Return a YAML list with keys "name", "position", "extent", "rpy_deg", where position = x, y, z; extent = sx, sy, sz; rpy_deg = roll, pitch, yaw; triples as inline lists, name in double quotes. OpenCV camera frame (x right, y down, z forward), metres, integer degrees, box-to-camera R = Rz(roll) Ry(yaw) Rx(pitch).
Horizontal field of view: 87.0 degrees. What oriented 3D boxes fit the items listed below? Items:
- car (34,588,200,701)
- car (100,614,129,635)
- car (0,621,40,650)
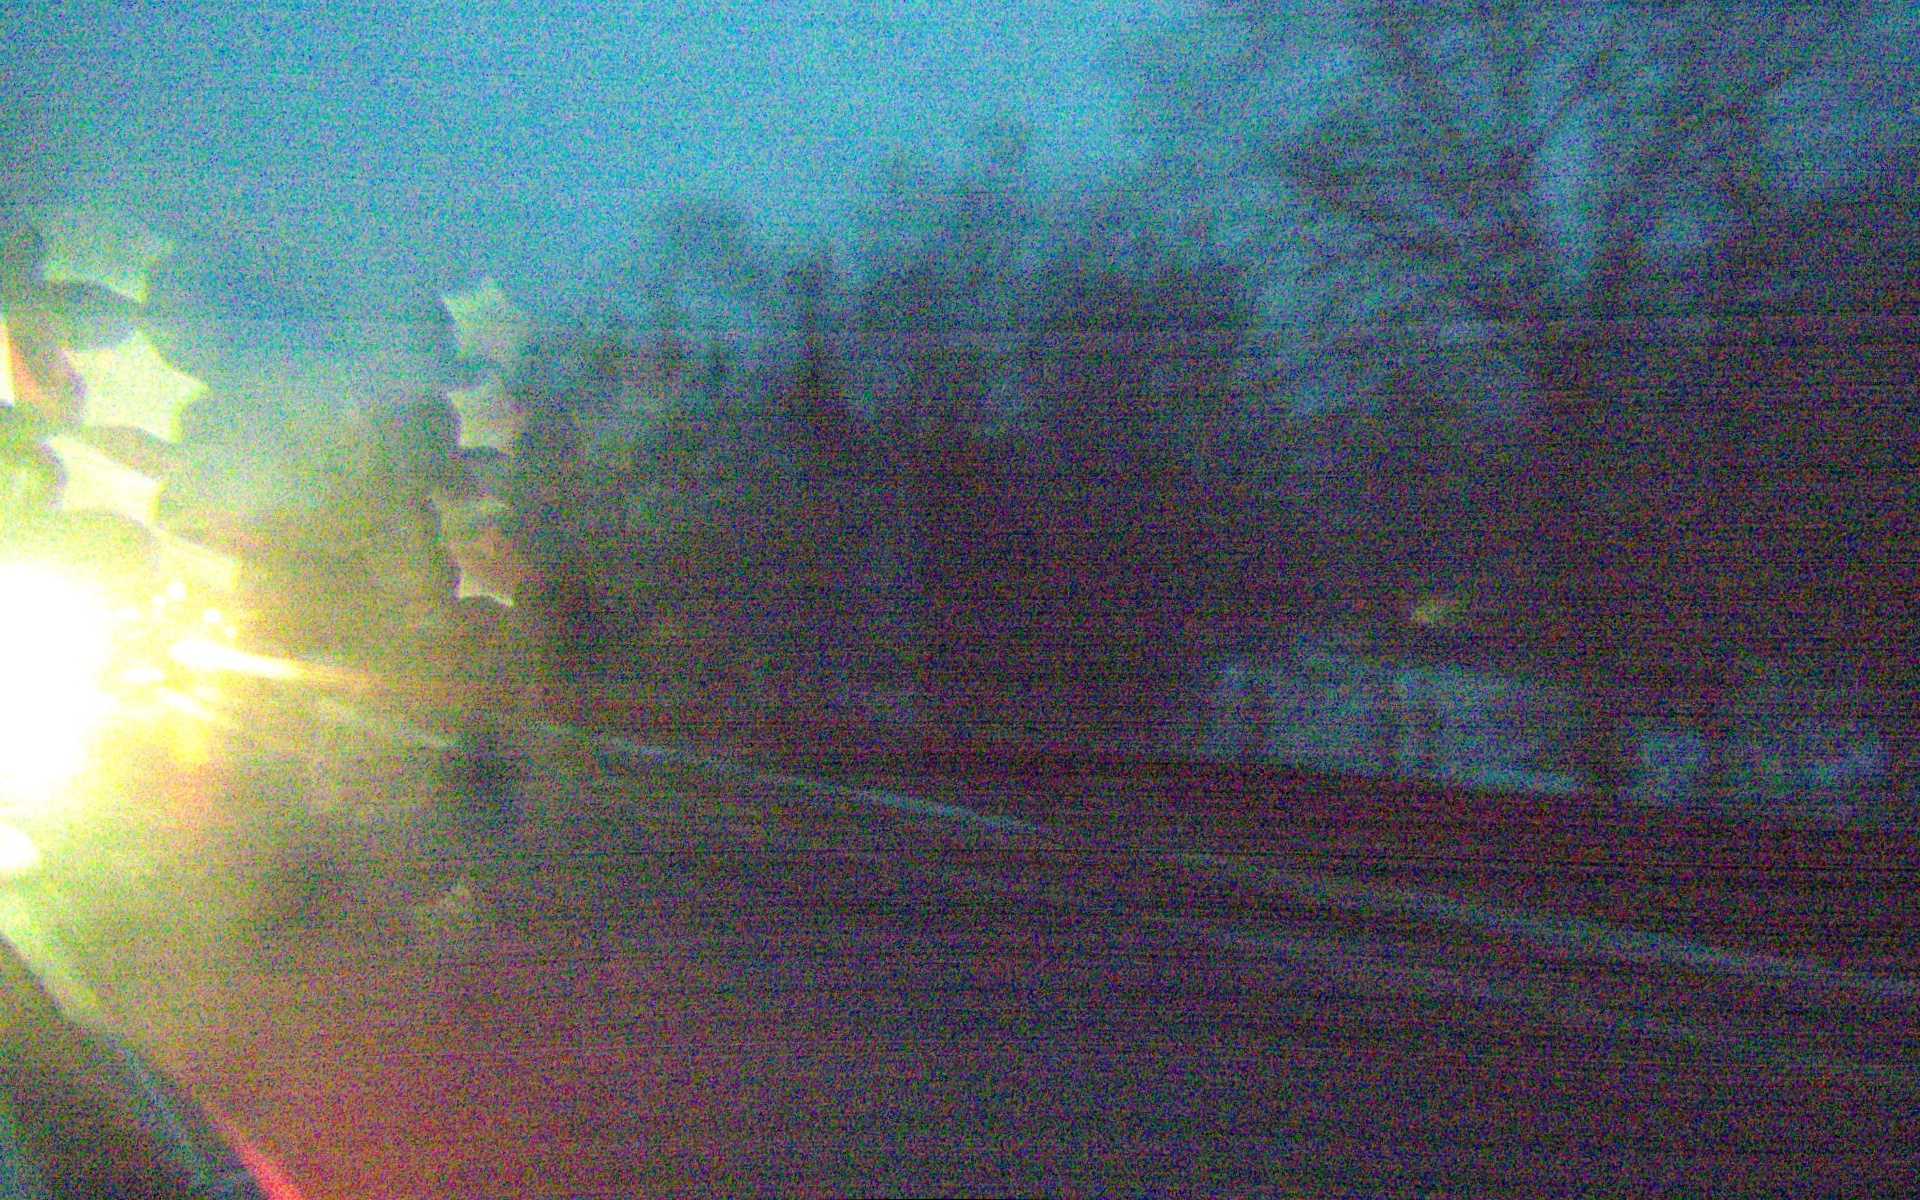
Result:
- name: "car"
  position: [-16.218, 0.775, 19.396]
  extent: [4.000, 1.940, 1.972]
  rpy_deg: [-1, 0, 43]
- name: "car"
  position: [-75.691, 2.180, 90.583]
  extent: [1.969, 1.763, 4.265]
  rpy_deg: [0, 0, -40]
- name: "car"
  position: [-51.927, 1.933, 55.560]
  extent: [1.780, 1.472, 4.284]
  rpy_deg: [-1, 0, -38]
